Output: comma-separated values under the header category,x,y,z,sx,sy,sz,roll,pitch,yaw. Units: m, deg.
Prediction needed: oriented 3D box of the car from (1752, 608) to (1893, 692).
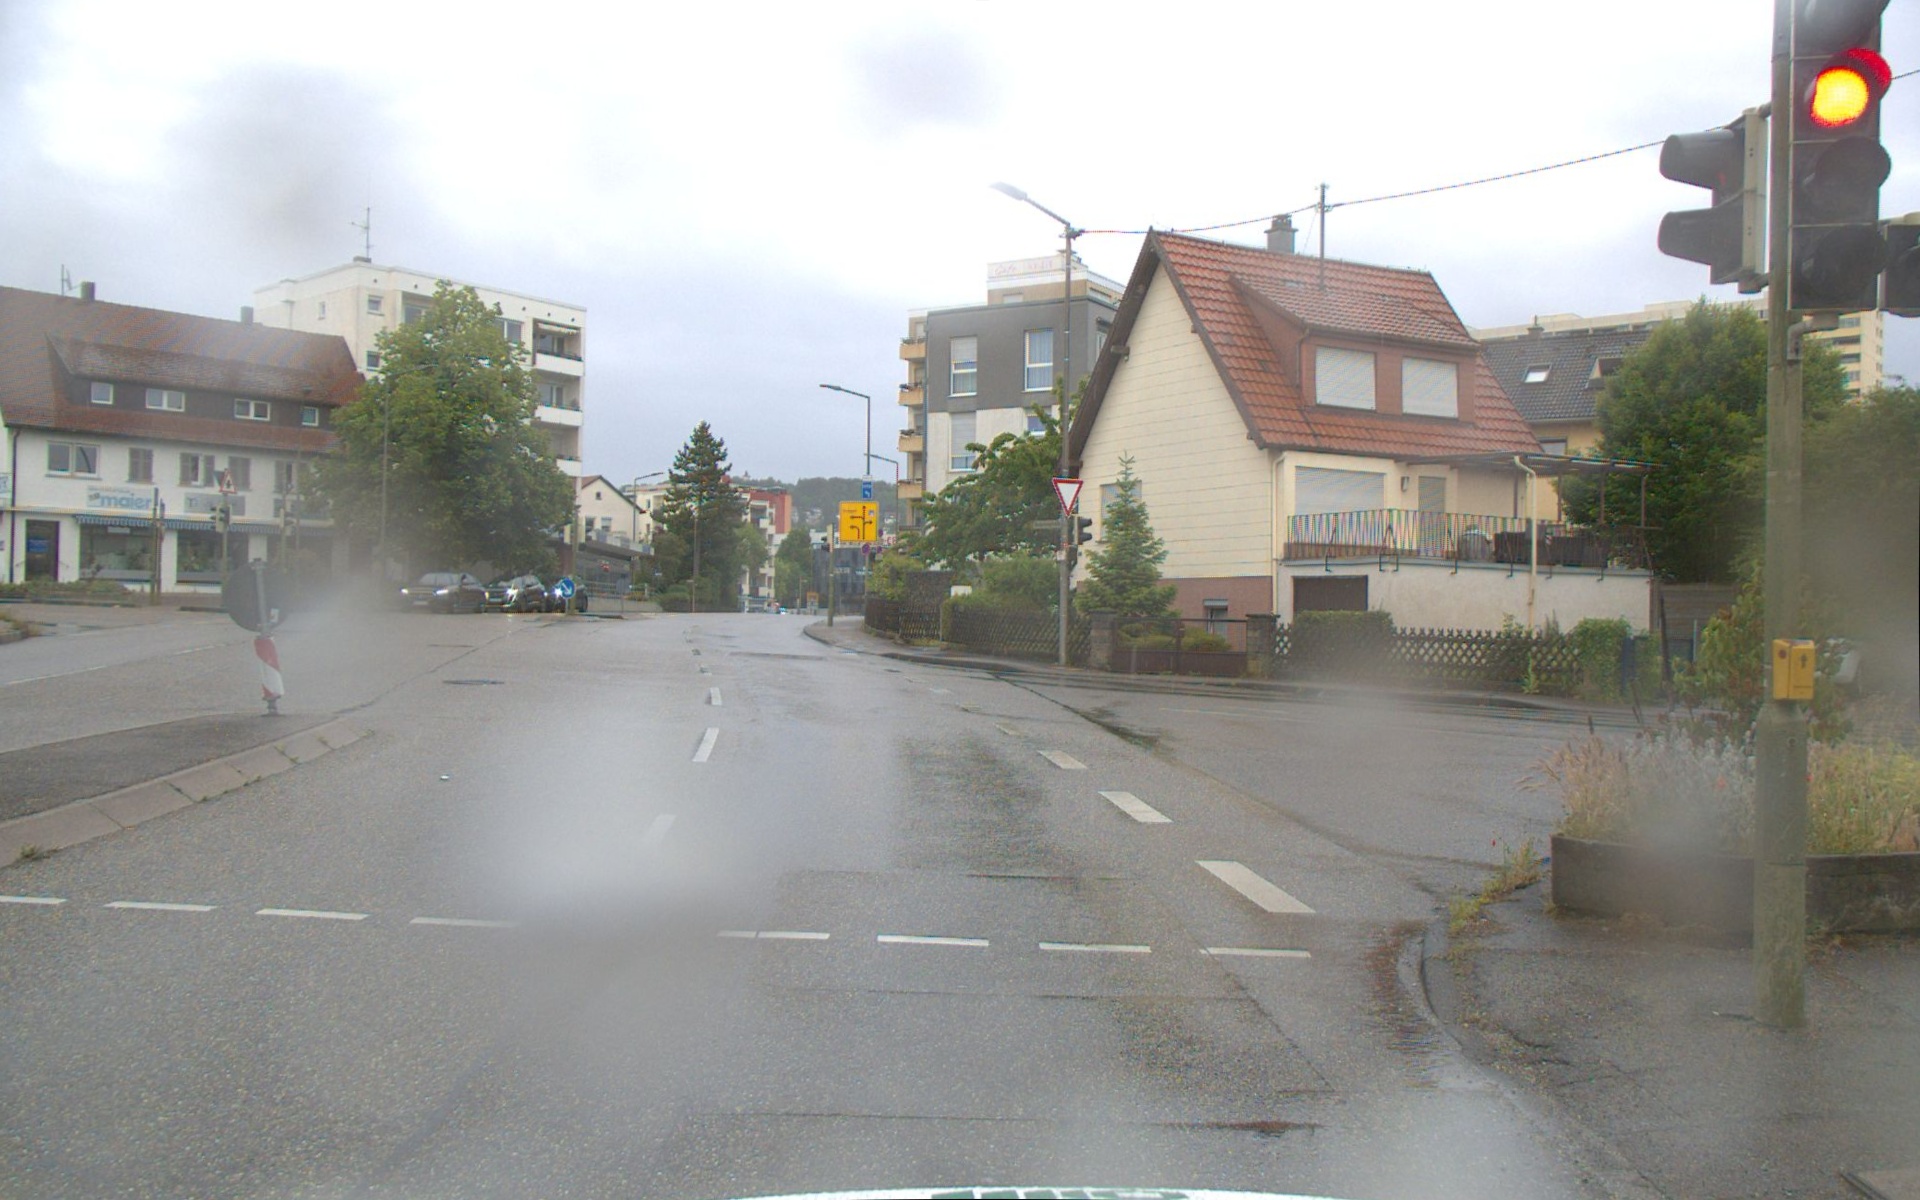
category,x,y,z,sx,sy,sz,roll,pitch,yaw
car,15.621,0.866,29.860,1.780,1.386,3.986,1,0,35

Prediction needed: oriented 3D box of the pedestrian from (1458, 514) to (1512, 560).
category,x,y,z,sx,sy,sz,roll,pitch,yaw
pedestrian,11.152,-1.334,35.162,0.902,0.898,0.632,1,-2,-20

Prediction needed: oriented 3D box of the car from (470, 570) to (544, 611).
category,x,y,z,sx,sy,sz,roll,pitch,yaw
car,-17.887,-0.374,65.475,1.927,1.538,3.998,1,0,-2

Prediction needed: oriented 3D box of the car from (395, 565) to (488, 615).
category,x,y,z,sx,sy,sz,roll,pitch,yaw
car,-18.153,-0.333,58.084,1.953,1.653,4.537,1,0,-2

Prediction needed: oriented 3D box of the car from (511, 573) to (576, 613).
category,x,y,z,sx,sy,sz,roll,pitch,yaw
car,-17.839,-0.293,70.975,1.841,1.625,4.182,1,0,-2
